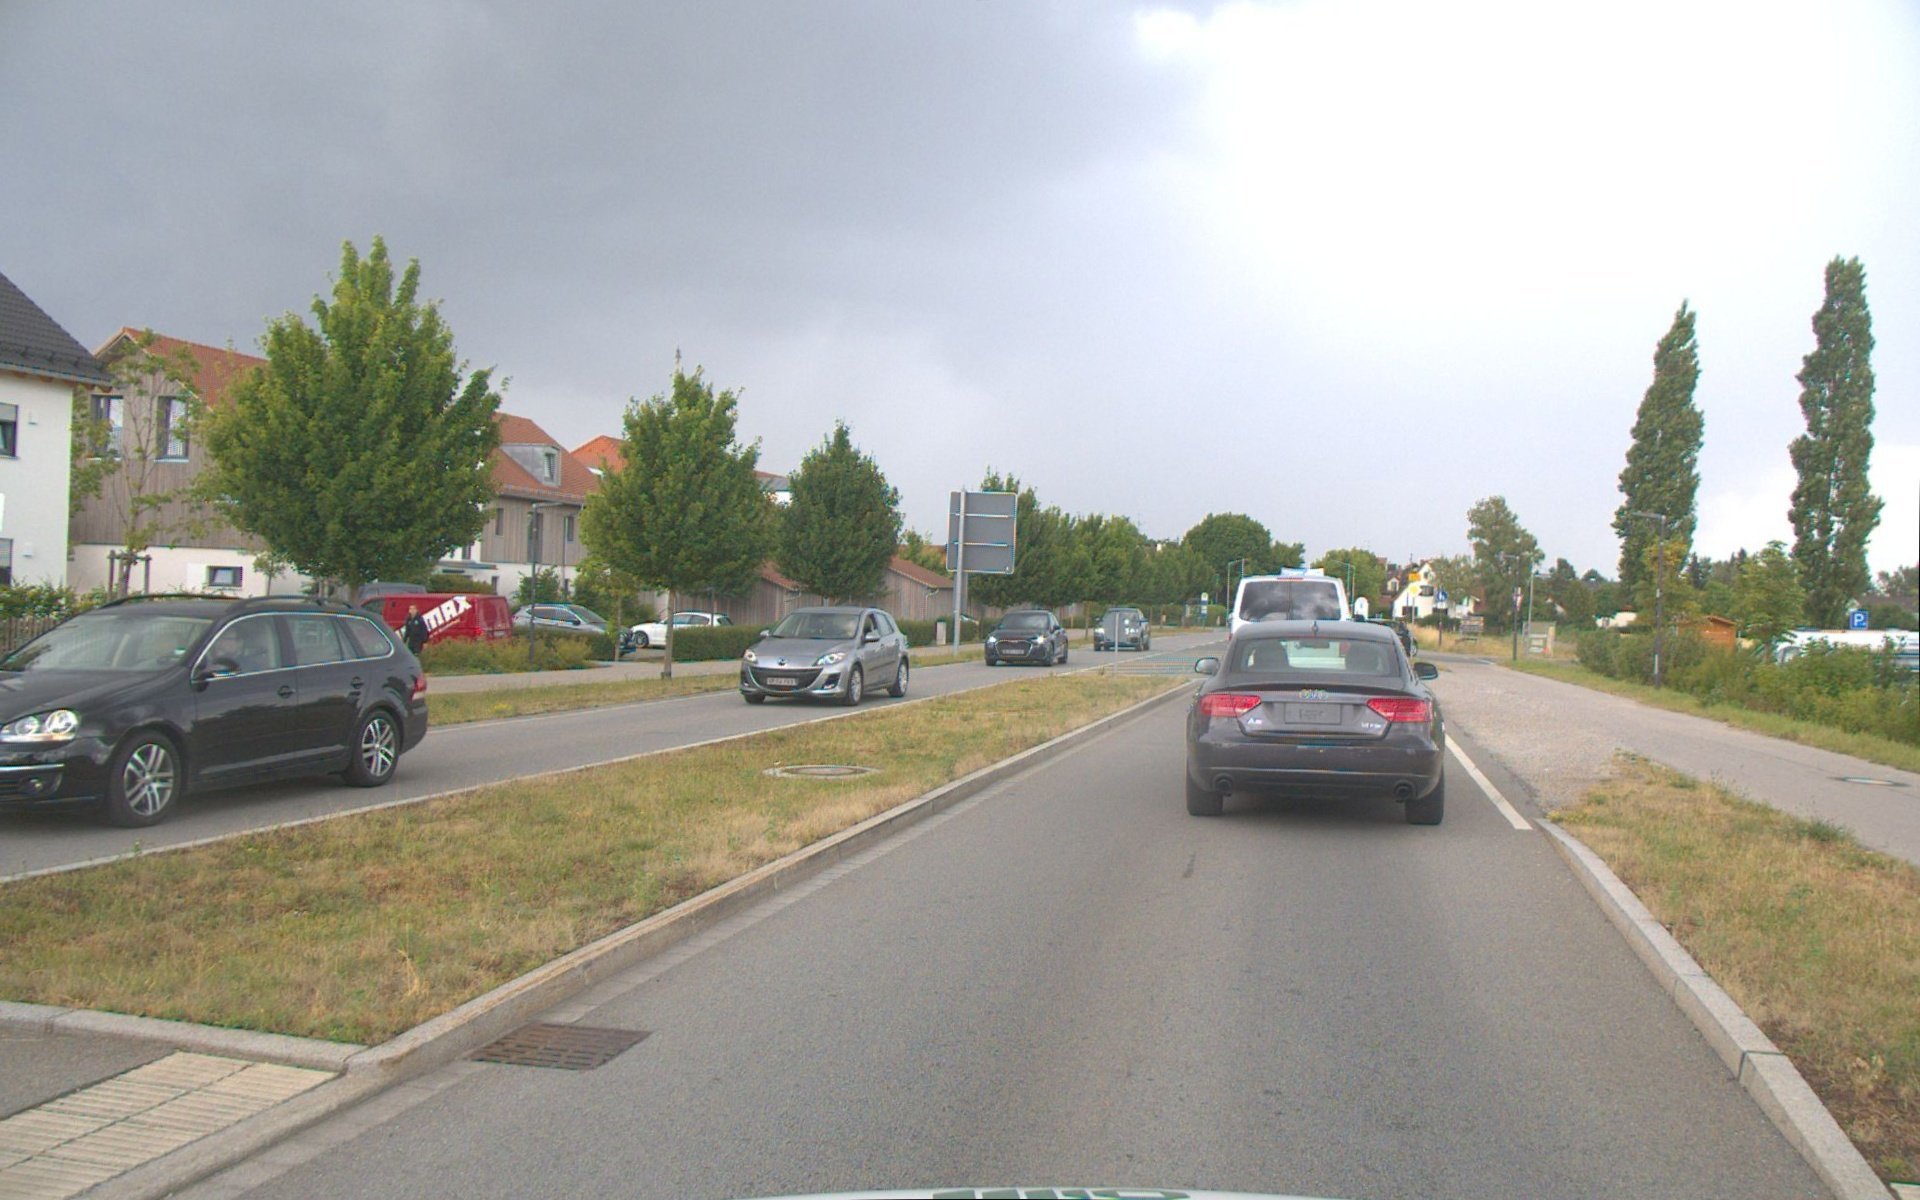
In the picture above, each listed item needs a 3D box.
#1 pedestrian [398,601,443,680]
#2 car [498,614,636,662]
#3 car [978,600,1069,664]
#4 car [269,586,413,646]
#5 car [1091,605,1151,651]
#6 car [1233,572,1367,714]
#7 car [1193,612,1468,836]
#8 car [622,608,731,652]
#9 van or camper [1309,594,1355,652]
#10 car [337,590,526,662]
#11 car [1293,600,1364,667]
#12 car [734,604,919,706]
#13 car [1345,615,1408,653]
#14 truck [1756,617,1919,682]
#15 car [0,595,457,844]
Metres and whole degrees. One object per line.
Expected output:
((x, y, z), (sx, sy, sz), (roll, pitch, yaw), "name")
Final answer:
((-11.020, 0.824, 33.806), (0.569, 1.586, 0.660), (2, 0, 11), "pedestrian")
((-12.568, 1.194, 52.993), (3.831, 1.338, 1.844), (2, 0, 10), "car")
((1.748, 0.840, 44.326), (1.827, 1.601, 4.003), (1, 0, 11), "car")
((-19.941, 0.537, 53.490), (1.952, 1.803, 4.467), (2, -1, 17), "car")
((6.127, 1.034, 62.591), (1.827, 1.601, 4.003), (2, 0, 11), "car")
((5.132, 0.638, 25.208), (1.827, 1.968, 4.003), (0, -1, 11), "car")
((2.779, 0.827, 12.797), (1.746, 1.416, 4.136), (0, -1, 11), "car")
((-10.685, 1.114, 62.357), (3.650, 1.508, 1.688), (2, 0, 10), "car")
((23.041, 1.448, 102.595), (2.569, 3.382, 6.826), (2, -1, 12), "van or camper")
((-14.212, 0.685, 44.563), (4.435, 1.709, 2.001), (2, 0, 16), "car")
((10.012, 0.882, 44.843), (1.739, 1.646, 4.003), (2, 0, 14), "car")
((-1.984, 0.812, 25.939), (1.693, 1.434, 4.209), (1, 0, 13), "car")
((16.570, 1.349, 65.687), (1.413, 1.396, 3.504), (2, -1, 31), "car")
((29.312, 1.626, 54.980), (4.694, 1.905, 2.001), (3, -1, 8), "truck")
((-5.568, 0.723, 11.971), (1.716, 1.441, 4.459), (0, -1, 12), "car")
